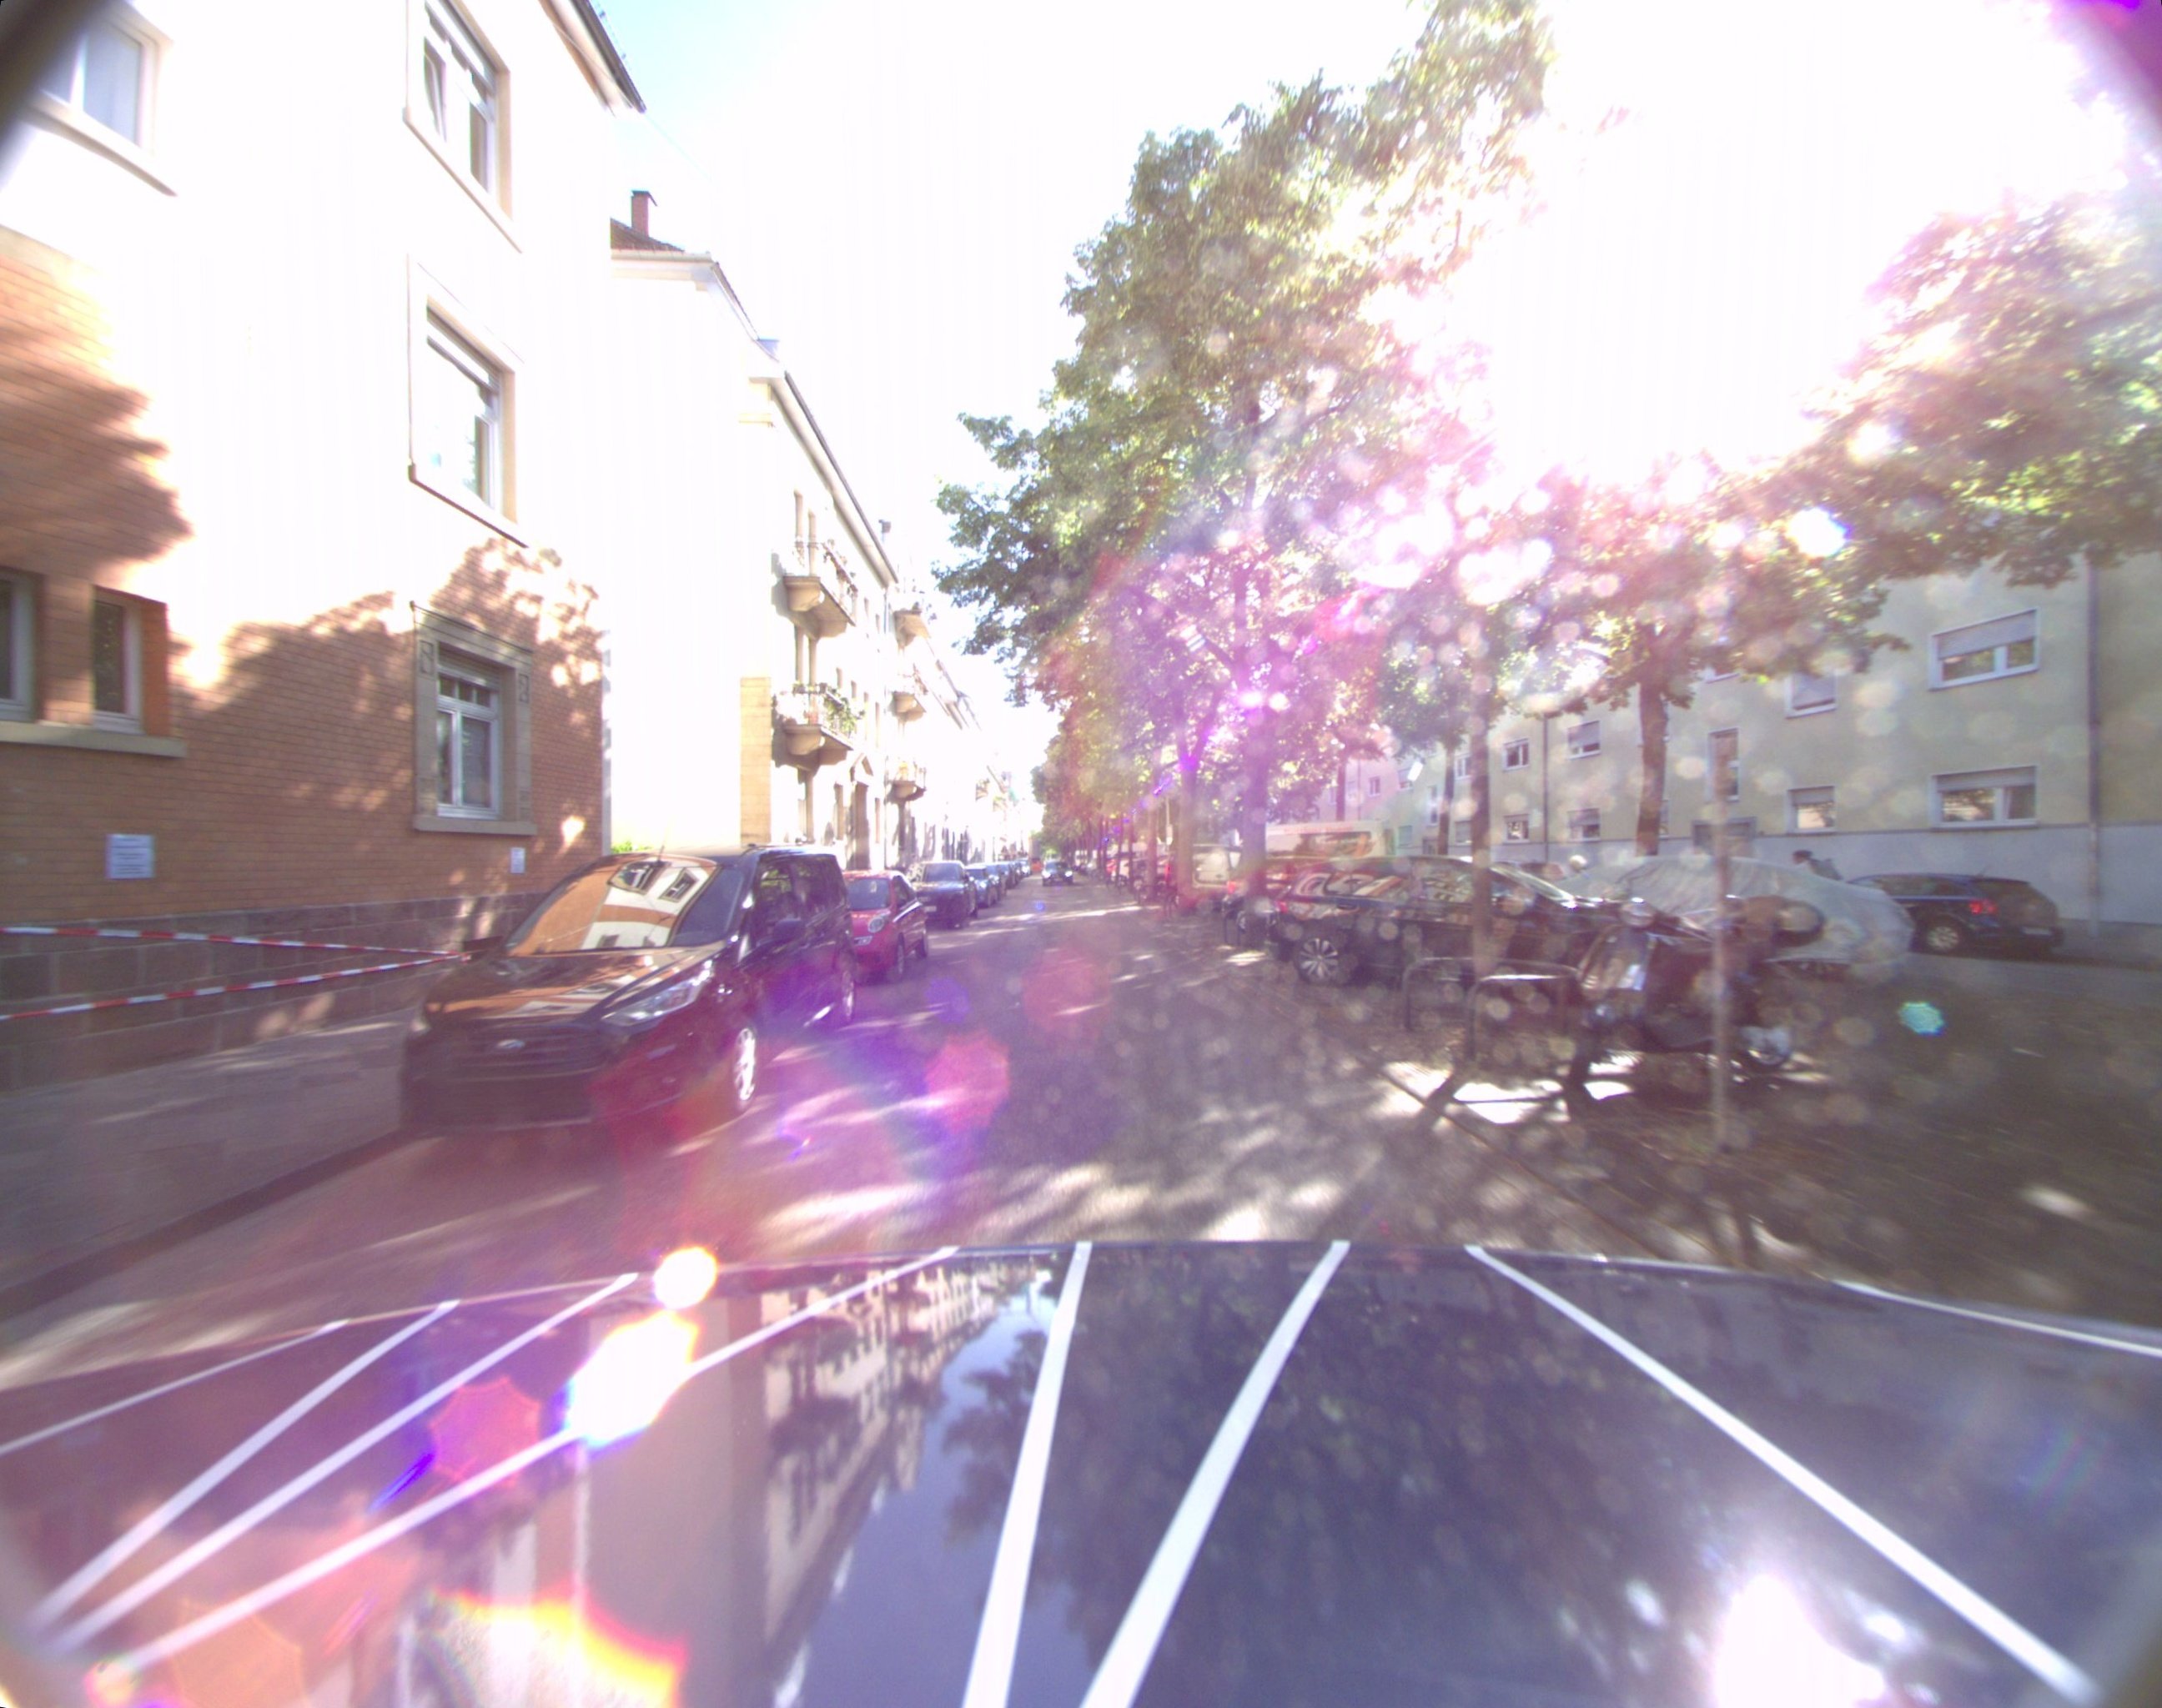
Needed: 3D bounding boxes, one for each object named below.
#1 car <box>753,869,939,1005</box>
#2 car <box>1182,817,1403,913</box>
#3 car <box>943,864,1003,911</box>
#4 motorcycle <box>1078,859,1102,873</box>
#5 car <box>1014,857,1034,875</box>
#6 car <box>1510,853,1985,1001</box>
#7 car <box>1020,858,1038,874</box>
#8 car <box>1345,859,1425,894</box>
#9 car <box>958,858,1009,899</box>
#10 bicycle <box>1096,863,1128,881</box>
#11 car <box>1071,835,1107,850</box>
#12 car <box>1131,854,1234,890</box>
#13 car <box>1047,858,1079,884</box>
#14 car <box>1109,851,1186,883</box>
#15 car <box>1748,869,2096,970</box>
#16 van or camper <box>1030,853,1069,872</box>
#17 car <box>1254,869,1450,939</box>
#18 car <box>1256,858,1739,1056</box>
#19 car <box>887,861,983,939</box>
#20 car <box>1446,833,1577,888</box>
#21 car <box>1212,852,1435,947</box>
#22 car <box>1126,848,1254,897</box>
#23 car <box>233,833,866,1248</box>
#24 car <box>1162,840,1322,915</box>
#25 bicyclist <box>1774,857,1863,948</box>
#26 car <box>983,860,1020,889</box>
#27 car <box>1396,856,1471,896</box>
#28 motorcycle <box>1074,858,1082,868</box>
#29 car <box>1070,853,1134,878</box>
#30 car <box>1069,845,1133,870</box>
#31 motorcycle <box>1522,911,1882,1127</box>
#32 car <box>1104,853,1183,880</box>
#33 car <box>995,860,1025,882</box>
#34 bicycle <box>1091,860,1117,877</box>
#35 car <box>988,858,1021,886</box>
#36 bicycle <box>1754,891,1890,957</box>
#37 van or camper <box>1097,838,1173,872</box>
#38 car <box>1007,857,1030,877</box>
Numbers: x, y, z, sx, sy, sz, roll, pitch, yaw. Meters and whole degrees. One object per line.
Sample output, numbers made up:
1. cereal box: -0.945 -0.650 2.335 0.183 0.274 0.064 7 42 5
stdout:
1. car: -3.334 1.086 11.576 1.650 1.528 3.999 -3 0 -2
2. car: 6.424 0.315 23.407 6.067 2.607 2.461 0 -1 32
3. car: -3.720 1.123 26.721 1.594 1.407 3.631 -2 0 -1
4. motorcycle: 0.824 1.084 69.707 2.151 1.222 0.882 0 0 7
5. car: -5.075 1.045 68.513 1.603 1.484 3.965 1 1 -2
6. car: 7.788 0.795 9.480 4.092 1.458 1.869 -1 2 25
7. car: -4.943 1.113 72.445 1.611 1.412 4.567 0 0 -3
8. car: 14.538 1.057 36.583 1.898 1.556 4.159 1 0 -4
9. car: -3.924 0.956 31.187 1.810 1.554 4.319 0 0 -4
10. bicycle: 1.860 1.072 44.926 1.813 0.988 0.426 -1 1 13
11. car: 1.030 -1.456 96.613 4.091 1.516 1.705 -5 -2 28
12. car: 4.449 0.770 33.350 4.098 1.473 1.735 -1 1 29
13. car: -1.057 0.973 45.373 1.792 1.510 4.000 0 0 0
14. car: 3.588 0.696 40.707 3.686 1.586 1.775 -2 0 23
15. car: 15.435 1.101 14.356 1.778 1.486 4.143 2 0 -5
16. van or camper: -5.169 1.402 124.812 6.017 2.984 2.404 0 0 26
17. car: 5.493 0.942 15.415 3.558 1.240 1.661 0 0 27
18. car: 4.177 0.828 8.034 4.142 1.545 1.837 0 0 39
19. car: -3.592 1.058 19.425 1.869 1.634 4.489 -2 0 -5
20. car: 14.787 0.222 26.449 1.746 1.712 4.557 1 0 -4
21. car: 4.549 0.789 14.330 3.728 1.572 1.639 -1 0 29
22. car: 3.938 0.685 27.756 4.265 1.632 1.658 -2 0 30
23. car: -3.133 0.885 5.777 1.806 1.860 4.272 -4 0 -2
24. car: 4.366 0.620 20.704 3.840 1.877 1.848 -1 0 33
25. bicyclist: 13.586 0.866 14.025 0.717 1.612 0.928 0 1 -2
26. car: -4.368 1.112 42.137 1.697 1.459 4.004 -2 0 -2
27. car: 14.759 0.895 32.004 1.478 1.550 3.183 -3 0 -4
28. motorcycle: -0.420 1.184 103.304 0.631 1.317 2.231 0 0 13
29. car: 1.463 0.804 53.390 4.079 1.643 1.866 -2 0 25
30. car: 2.101 0.387 80.387 6.311 2.544 2.342 -1 1 30
31. motorcycle: 3.784 0.960 4.667 1.945 1.164 0.518 0 0 -8
32. car: 3.860 0.778 46.959 4.621 1.477 1.762 -2 0 13
33. car: -4.789 1.122 51.921 1.774 1.423 4.290 -1 0 -2
34. bicycle: 1.547 0.984 51.414 1.688 1.152 0.379 -2 1 17
35. car: -4.680 1.091 46.943 1.772 1.542 4.182 -2 0 -3
36. bicycle: 13.577 1.250 14.003 0.601 1.028 1.914 0 0 -2
37. van or camper: 4.797 0.114 68.093 6.291 2.808 2.412 -2 0 27
38. car: -5.092 1.029 62.045 1.584 1.541 4.041 -1 0 -1
